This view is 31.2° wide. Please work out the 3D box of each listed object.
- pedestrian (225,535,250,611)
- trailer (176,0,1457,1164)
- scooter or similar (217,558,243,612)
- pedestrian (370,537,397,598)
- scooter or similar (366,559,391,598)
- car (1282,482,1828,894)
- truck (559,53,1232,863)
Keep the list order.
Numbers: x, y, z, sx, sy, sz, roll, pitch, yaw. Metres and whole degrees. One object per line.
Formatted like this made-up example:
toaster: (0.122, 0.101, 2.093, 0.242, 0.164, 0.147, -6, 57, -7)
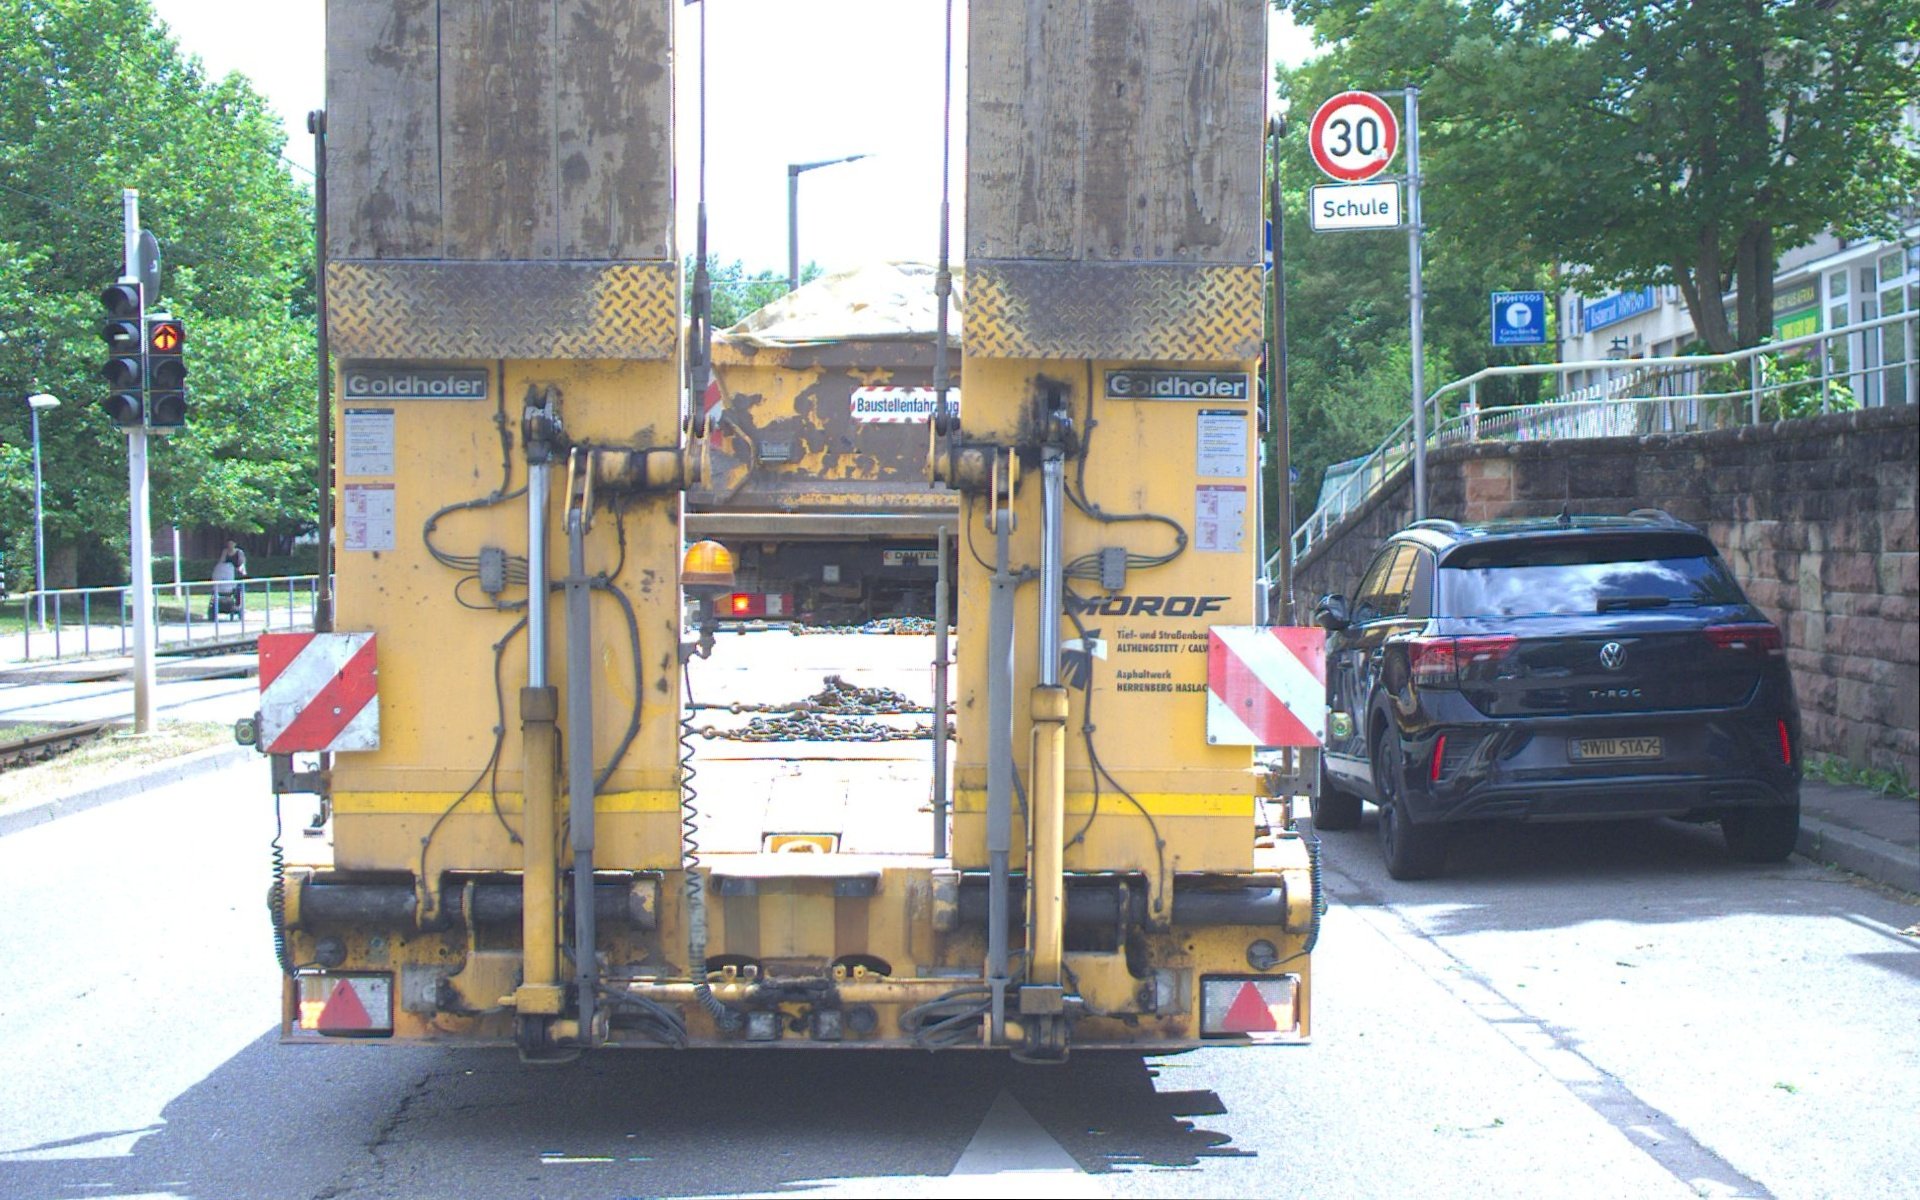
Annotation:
pedestrian: (-14.636, -0.544, 69.675, 0.348, 1.531, 0.557, -1, 1, 3)
trailer: (-0.311, -0.584, 12.326, 2.945, 3.589, 8.684, -1, 1, 0)
scooter or similar: (-14.655, -0.302, 69.020, 0.338, 1.054, 0.687, -1, 1, 2)
pedestrian: (-14.482, -0.822, 86.345, 0.563, 1.508, 0.646, 1, 1, -1)
scooter or similar: (-14.499, -0.543, 85.699, 0.505, 0.968, 0.646, 1, 1, -1)
car: (2.647, 0.328, 16.212, 1.851, 1.633, 4.000, -2, 1, 0)
truck: (-0.286, -0.677, 17.708, 2.942, 3.560, 4.877, -1, 1, 0)
